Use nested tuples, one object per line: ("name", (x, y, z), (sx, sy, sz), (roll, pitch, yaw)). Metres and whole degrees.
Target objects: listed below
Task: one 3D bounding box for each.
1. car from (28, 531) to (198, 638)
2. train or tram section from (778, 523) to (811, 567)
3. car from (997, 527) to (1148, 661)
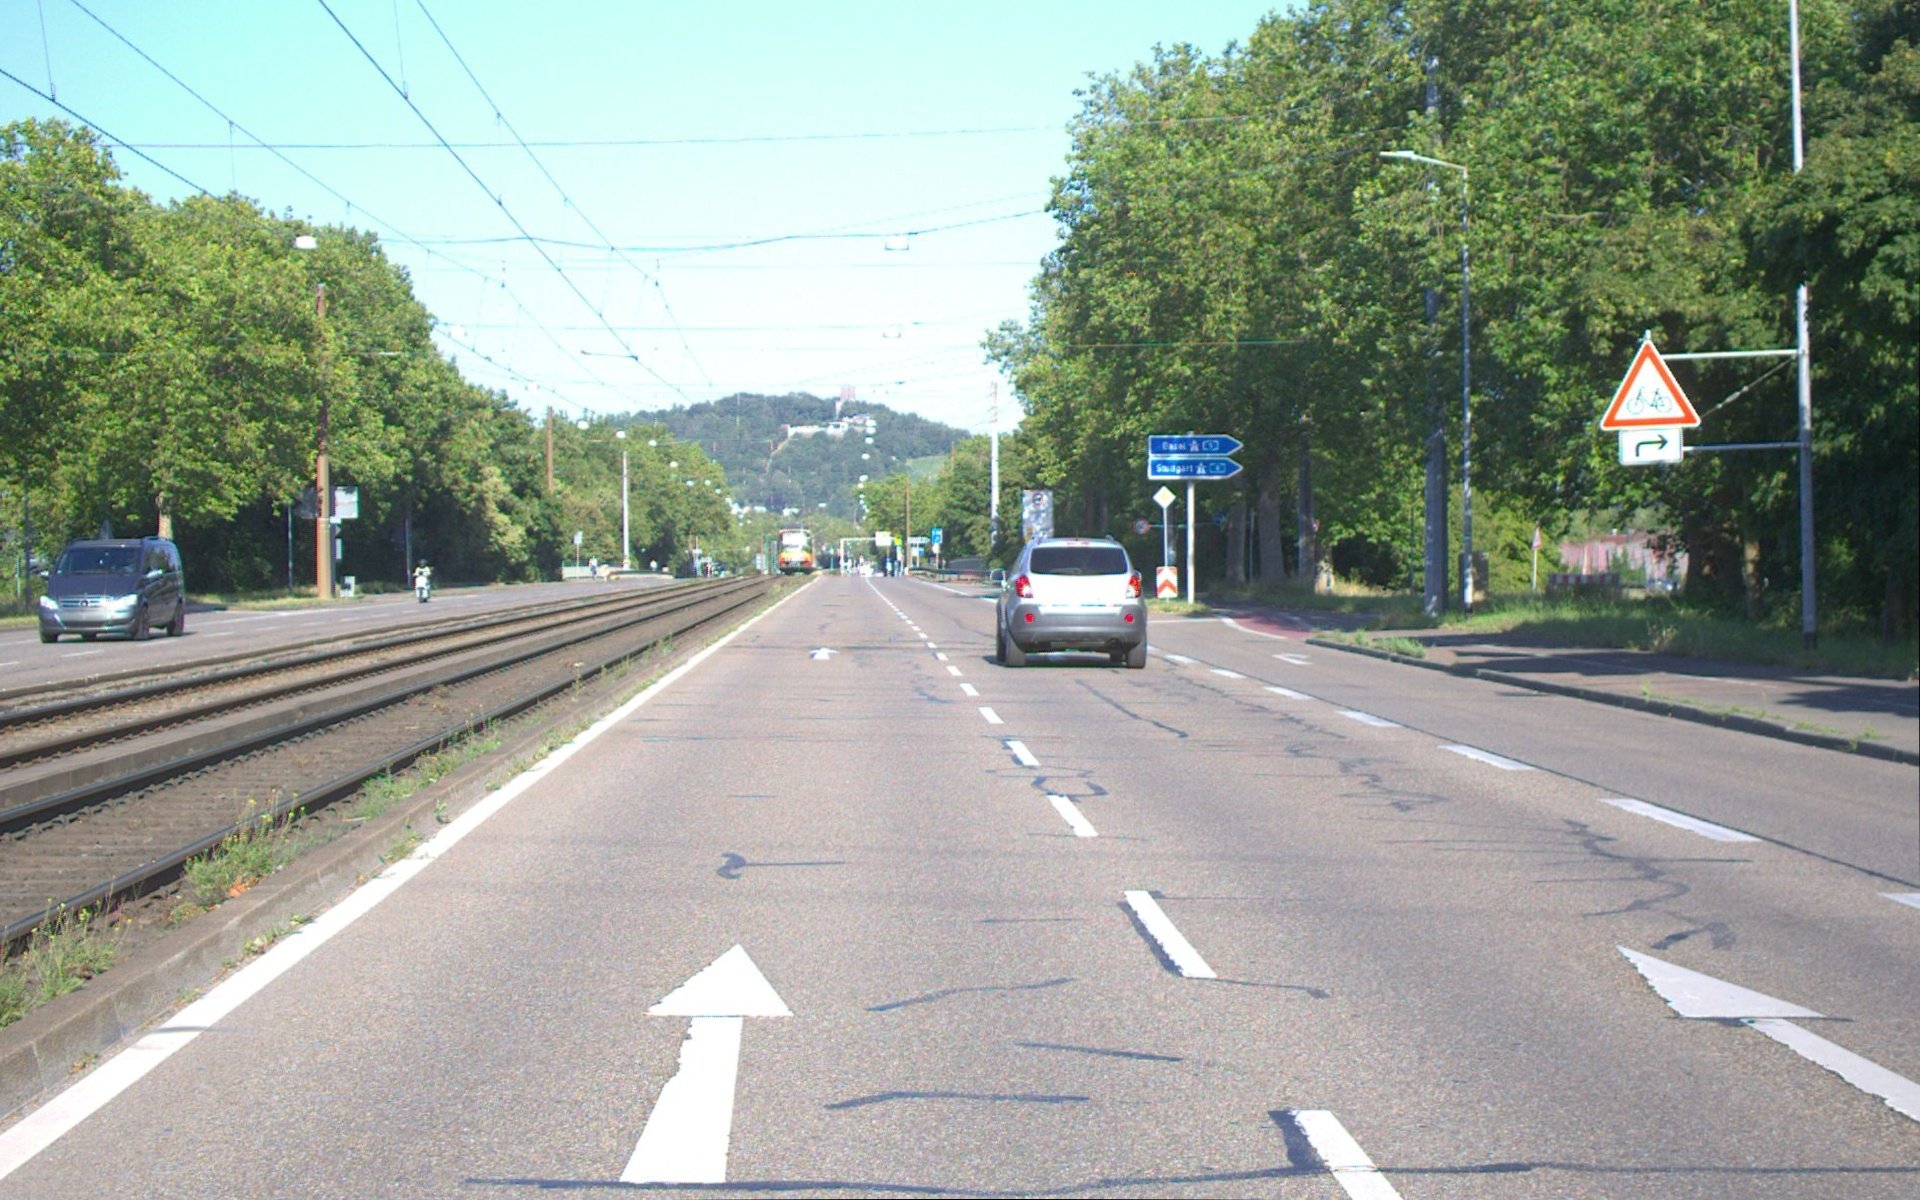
("car", (-15.824, -0.296, 64.469), (1.993, 1.916, 4.860), (0, 0, 0))
("train or tram section", (-12.716, -4.241, 264.775), (2.310, 3.206, 9.476), (2, 0, -2))
("car", (1.457, -0.088, 45.978), (1.888, 1.688, 4.256), (1, 0, 0))
